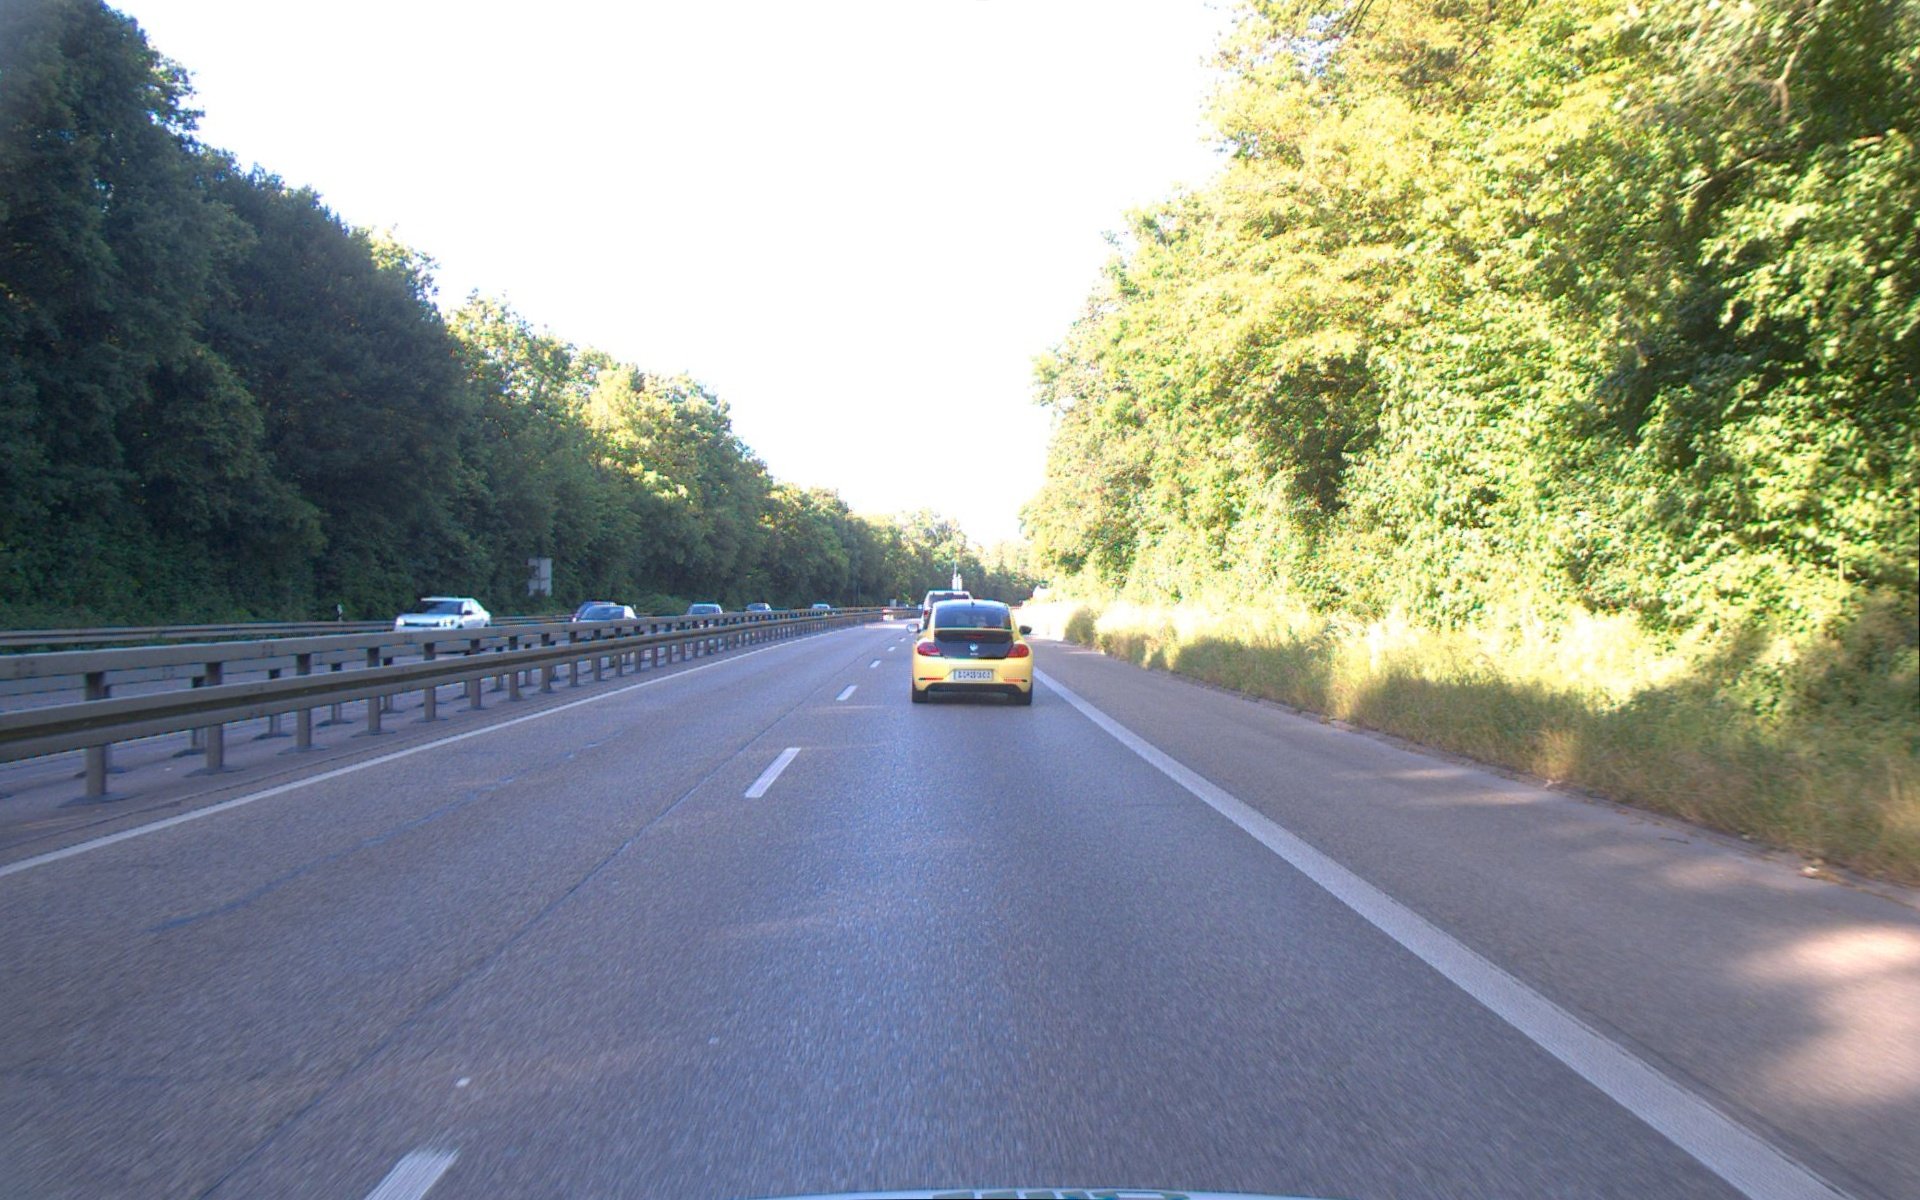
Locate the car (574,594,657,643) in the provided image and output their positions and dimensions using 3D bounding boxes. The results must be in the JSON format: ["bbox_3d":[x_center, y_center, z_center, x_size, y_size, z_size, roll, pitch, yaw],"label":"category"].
[{"bbox_3d":[-11.140,0.575,53.766,1.688,1.494,4.097,-2,0,2],"label":"car"}]

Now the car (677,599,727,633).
[{"bbox_3d":[-11.791,0.745,75.690,1.689,1.397,4.095,-2,-2,-1],"label":"car"}]

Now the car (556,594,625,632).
[{"bbox_3d":[-15.754,0.547,70.716,1.952,1.489,4.000,-2,0,0],"label":"car"}]

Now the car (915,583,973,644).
[{"bbox_3d":[-0.488,0.415,53.388,1.705,1.862,3.423,1,0,1],"label":"car"}]

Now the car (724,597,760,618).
[{"bbox_3d":[-16.223,0.527,123.443,1.952,1.489,4.902,-2,0,1],"label":"car"}]

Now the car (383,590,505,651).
[{"bbox_3d":[-15.339,0.588,49.441,1.952,1.651,4.790,-2,0,2],"label":"car"}]

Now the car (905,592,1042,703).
[{"bbox_3d":[0.263,0.666,24.772,1.899,1.535,3.423,0,0,2],"label":"car"}]
